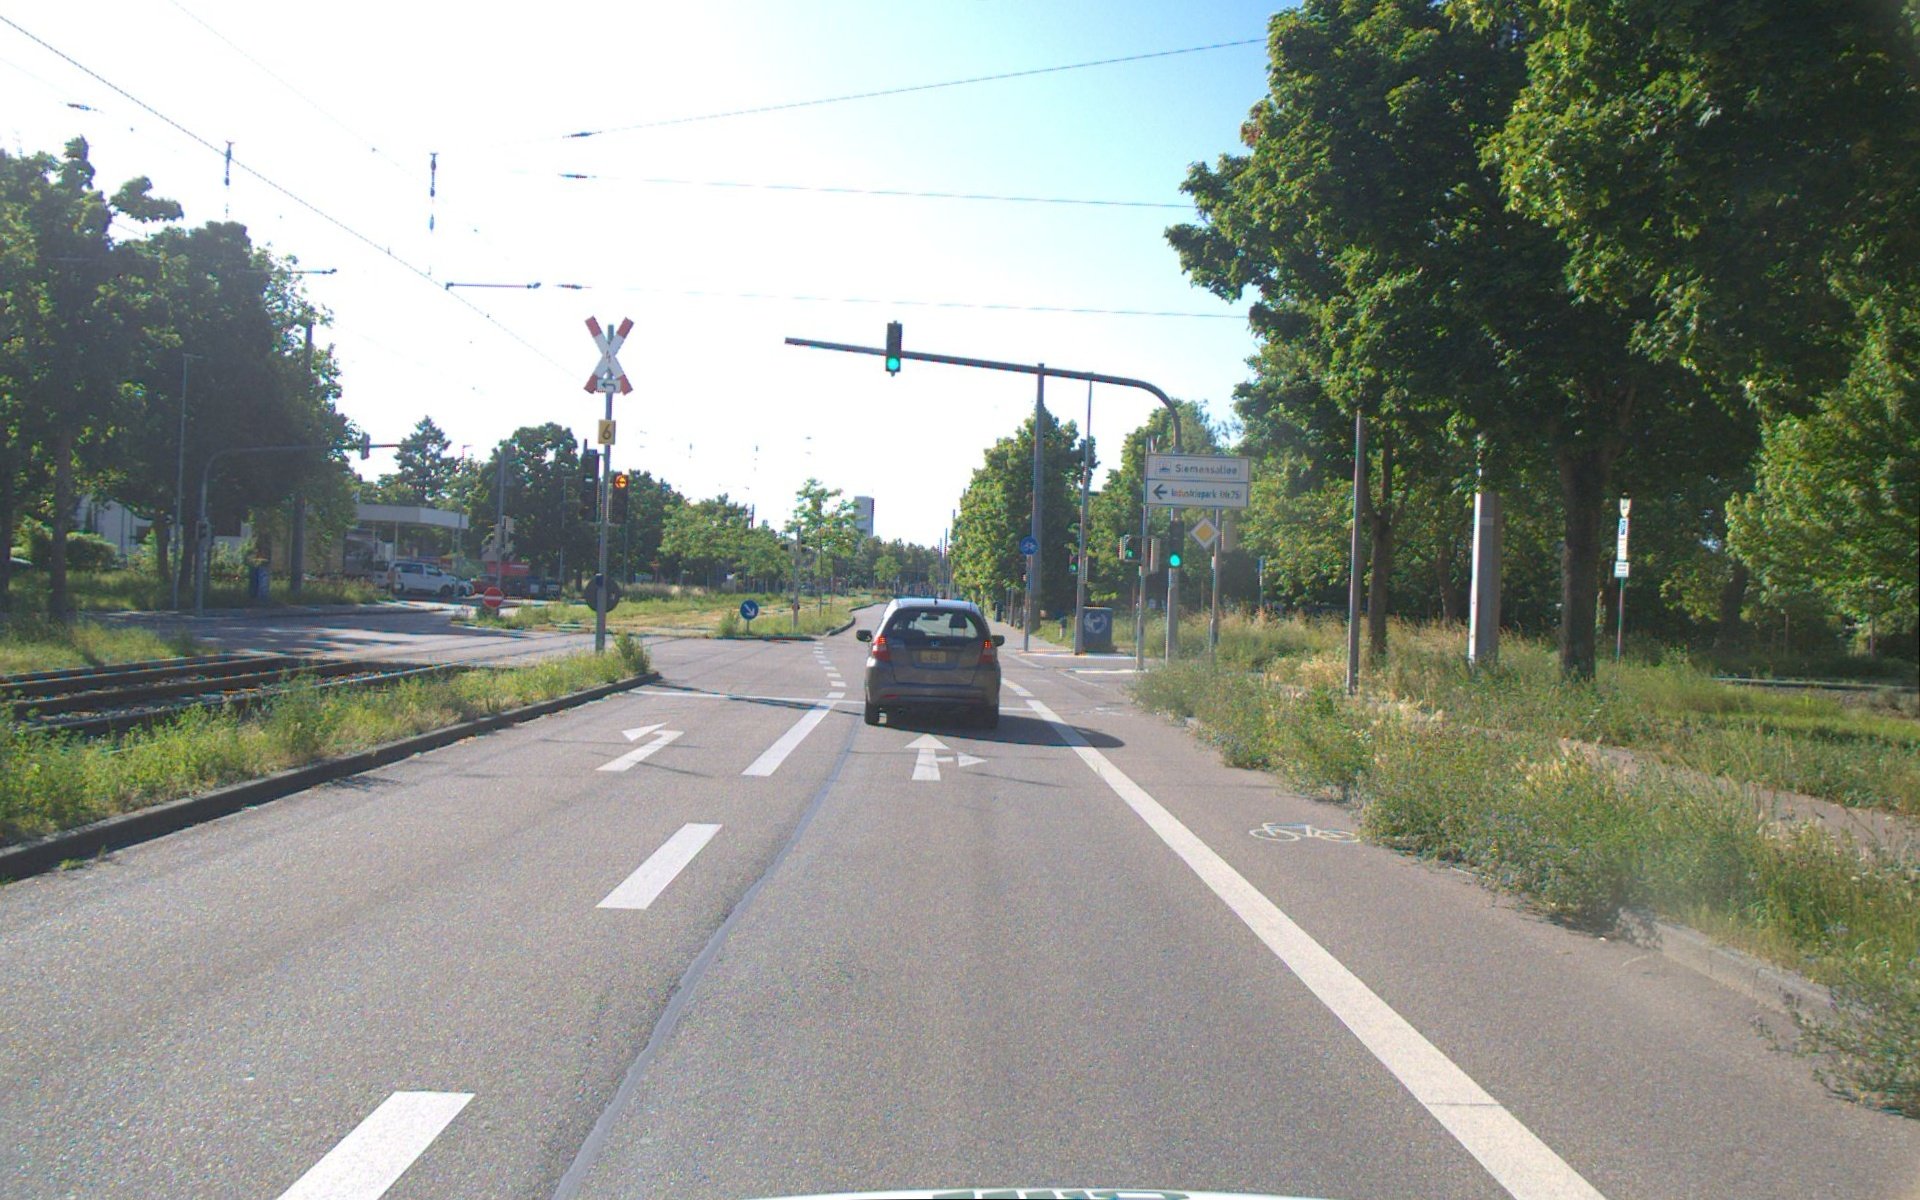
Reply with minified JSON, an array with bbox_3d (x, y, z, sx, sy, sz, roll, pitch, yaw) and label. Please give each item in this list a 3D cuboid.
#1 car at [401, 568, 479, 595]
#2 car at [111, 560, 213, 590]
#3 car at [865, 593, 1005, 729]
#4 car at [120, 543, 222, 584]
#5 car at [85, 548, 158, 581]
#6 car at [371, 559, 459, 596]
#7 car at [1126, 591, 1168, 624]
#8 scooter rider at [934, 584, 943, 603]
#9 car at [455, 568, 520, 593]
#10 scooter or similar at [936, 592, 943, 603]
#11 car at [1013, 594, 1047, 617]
[{"bbox_3d":[-32.257,-1.156,102.646,1.756,1.554,4.454,2,1,35],"label":"car"},{"bbox_3d":[-37.183,-1.172,77.148,3.889,1.187,1.664,3,0,-6],"label":"car"},{"bbox_3d":[-0.289,0.710,21.135,1.591,1.526,3.456,2,0,0],"label":"car"},{"bbox_3d":[-44.199,-2.044,92.709,4.628,2.128,2.020,2,0,-4],"label":"car"},{"bbox_3d":[-43.320,-1.818,85.517,1.545,1.571,4.089,3,0,1],"label":"car"},{"bbox_3d":[-32.238,-1.304,97.890,1.824,2.008,4.768,2,1,35],"label":"car"},{"bbox_3d":[12.226,0.457,108.393,1.834,2.000,5.165,3,0,-2],"label":"car"},{"bbox_3d":[-2.154,-0.661,165.554,0.702,1.934,0.934,2,0,-4],"label":"scooter rider"},{"bbox_3d":[-32.698,-1.350,114.478,3.991,1.596,1.791,2,0,-5],"label":"car"},{"bbox_3d":[-2.035,-0.262,165.513,0.528,1.138,1.416,2,0,-4],"label":"scooter or similar"},{"bbox_3d":[4.570,0.353,108.554,1.739,1.411,3.866,1,0,-5],"label":"car"}]
